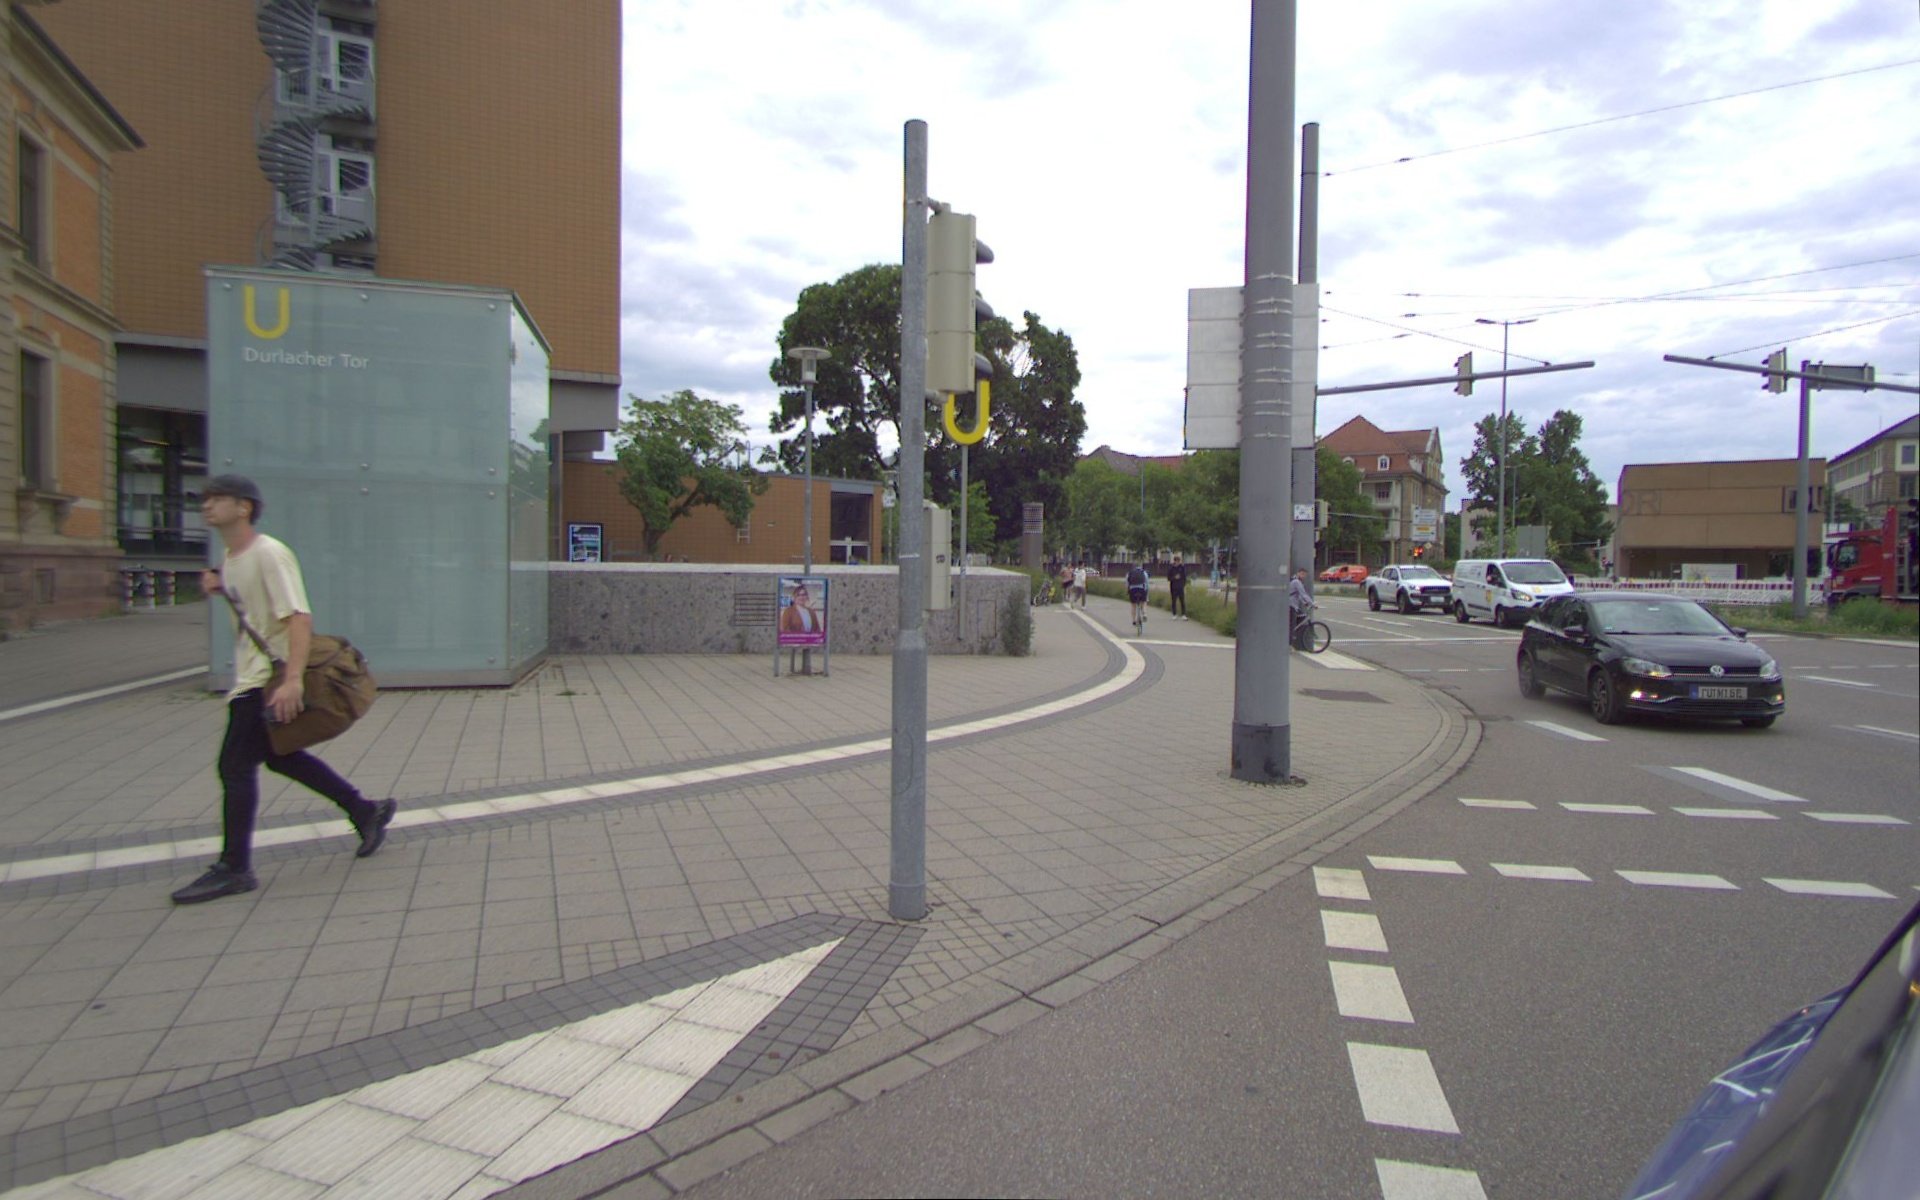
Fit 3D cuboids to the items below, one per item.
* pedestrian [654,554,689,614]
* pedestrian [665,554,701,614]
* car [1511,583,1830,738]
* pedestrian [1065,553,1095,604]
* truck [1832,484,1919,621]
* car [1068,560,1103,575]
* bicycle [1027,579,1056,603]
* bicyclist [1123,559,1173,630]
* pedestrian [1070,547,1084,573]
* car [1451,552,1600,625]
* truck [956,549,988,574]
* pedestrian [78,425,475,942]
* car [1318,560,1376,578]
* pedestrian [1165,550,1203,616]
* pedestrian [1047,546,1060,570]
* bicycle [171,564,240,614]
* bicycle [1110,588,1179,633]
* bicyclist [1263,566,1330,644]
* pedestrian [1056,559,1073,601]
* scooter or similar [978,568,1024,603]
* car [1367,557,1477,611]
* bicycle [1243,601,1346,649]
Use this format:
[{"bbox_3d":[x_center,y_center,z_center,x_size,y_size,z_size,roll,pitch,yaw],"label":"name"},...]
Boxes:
[{"bbox_3d":[-8.720,-0.496,30.562,0.857,1.764,0.725,0,2,-32],"label":"pedestrian"},{"bbox_3d":[-8.196,-0.472,29.927,0.857,1.752,0.725,0,2,-32],"label":"pedestrian"},{"bbox_3d":[8.130,0.560,12.069,1.631,1.430,3.987,1,2,12],"label":"car"},{"bbox_3d":[4.326,-0.776,36.544,0.835,1.827,0.694,2,2,39],"label":"pedestrian"},{"bbox_3d":[29.250,-1.317,27.330,2.961,3.968,10.448,-1,2,4],"label":"truck"},{"bbox_3d":[15.079,-3.852,121.806,1.962,1.749,4.002,-2,2,-33],"label":"car"},{"bbox_3d":[3.150,-0.361,38.994,0.551,0.859,2.060,1,2,21],"label":"bicycle"},{"bbox_3d":[4.330,-0.127,23.297,0.690,1.580,0.913,4,2,40],"label":"bicyclist"},{"bbox_3d":[8.388,-2.876,72.701,0.708,1.822,0.597,2,2,-41],"label":"pedestrian"},{"bbox_3d":[16.375,-0.395,29.604,1.964,1.966,4.521,1,2,3],"label":"car"},{"bbox_3d":[1.916,-6.361,166.712,2.853,4.074,7.177,-1,2,-20],"label":"truck"},{"bbox_3d":[-2.977,0.282,4.468,0.884,1.890,1.267,2,2,41],"label":"pedestrian"},{"bbox_3d":[37.351,-2.990,97.620,5.133,1.738,1.918,0,2,-19],"label":"car"},{"bbox_3d":[6.837,-0.526,30.883,0.856,1.952,0.725,0,2,-27],"label":"pedestrian"},{"bbox_3d":[7.109,-3.204,76.978,0.708,1.822,0.597,2,2,-41],"label":"pedestrian"},{"bbox_3d":[-21.805,-0.352,29.299,0.797,1.356,2.617,-1,2,-19],"label":"bicycle"},{"bbox_3d":[4.271,0.230,23.293,0.670,0.944,1.831,5,3,41],"label":"bicycle"},{"bbox_3d":[6.815,0.079,20.541,1.081,1.539,0.760,1,2,2],"label":"bicyclist"},{"bbox_3d":[4.656,-0.881,45.183,0.619,1.822,0.597,3,2,2],"label":"pedestrian"},{"bbox_3d":[1.544,-0.558,38.104,1.572,1.306,0.696,-2,2,-26],"label":"scooter or similar"},{"bbox_3d":[17.337,-0.651,38.246,2.052,1.871,4.751,1,2,2],"label":"car"},{"bbox_3d":[6.783,0.500,20.570,1.793,0.850,0.767,3,2,2],"label":"bicycle"}]
